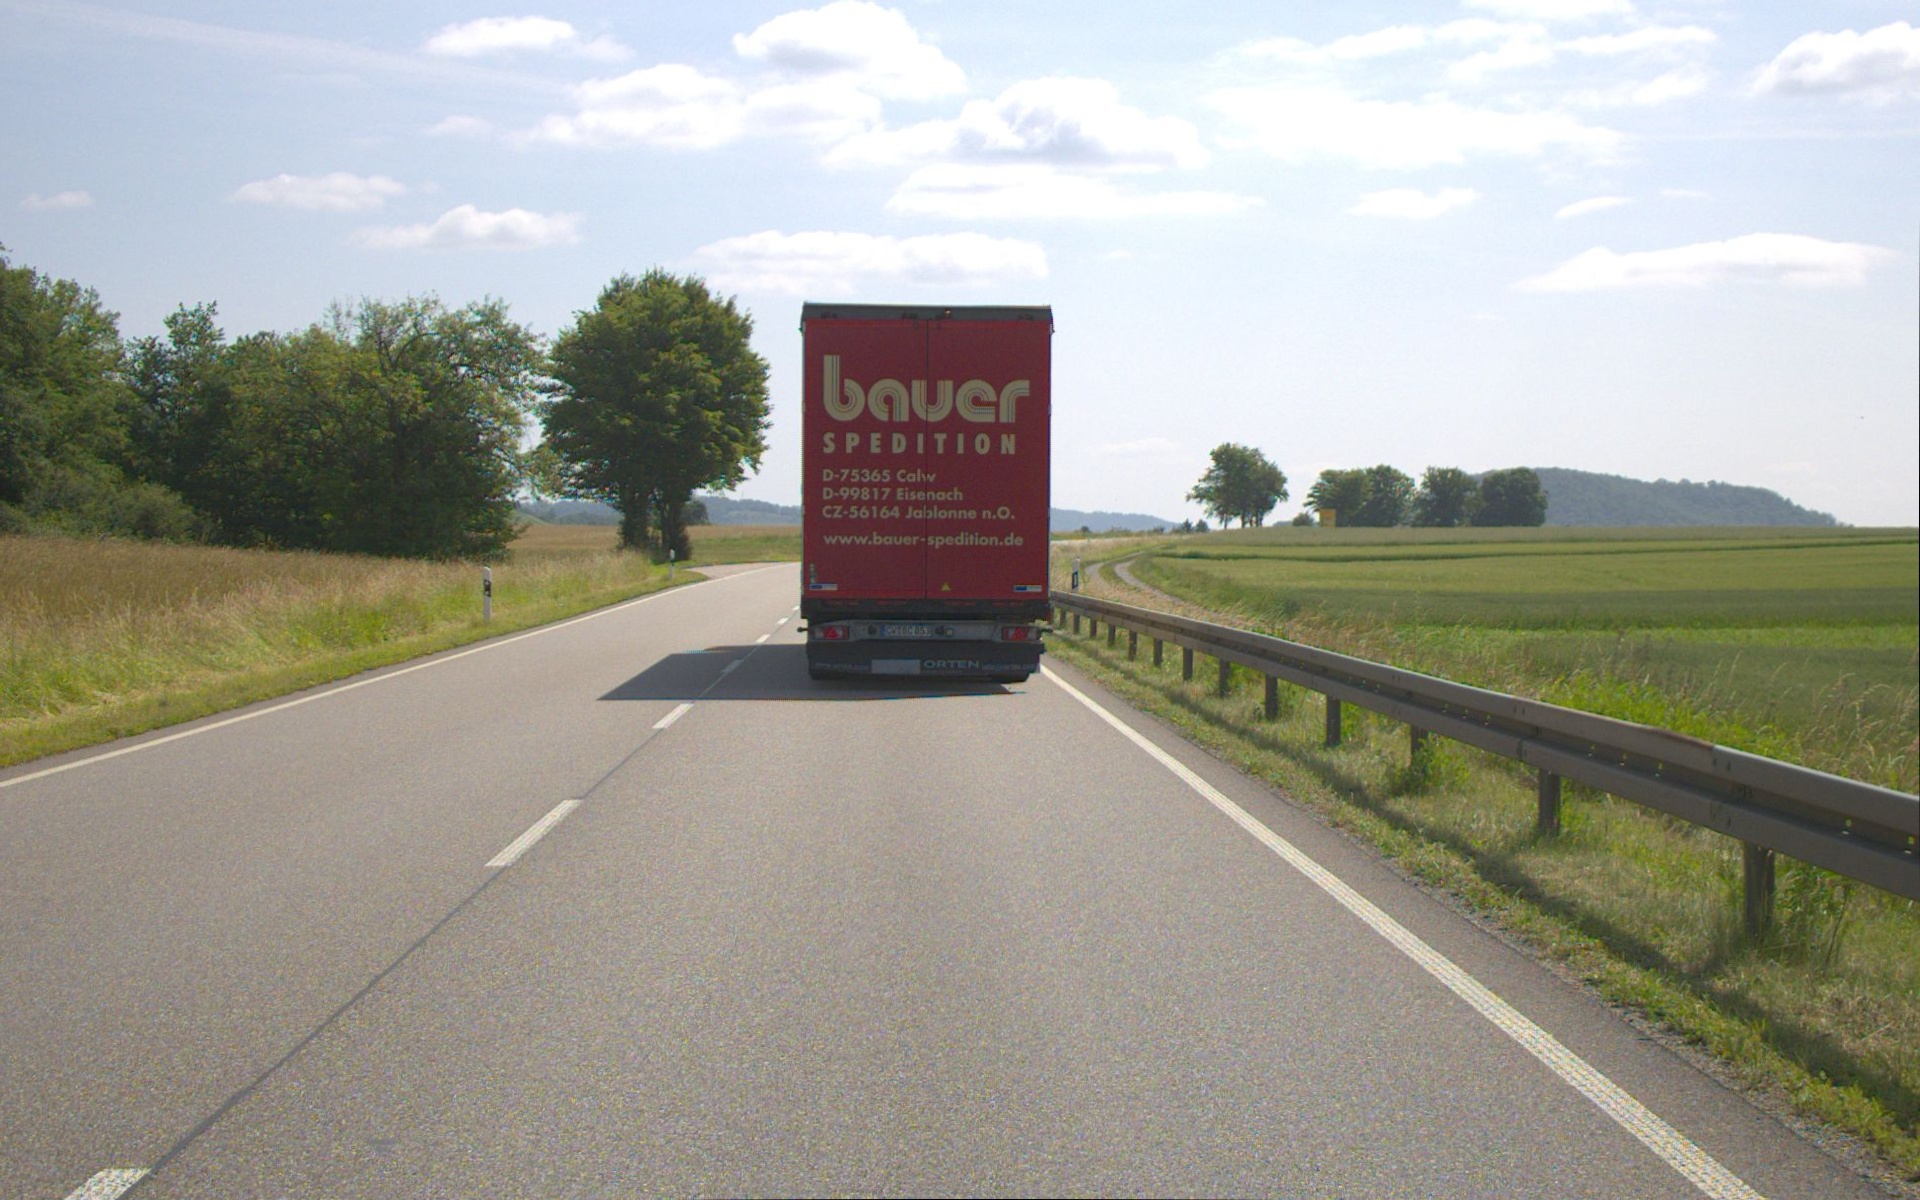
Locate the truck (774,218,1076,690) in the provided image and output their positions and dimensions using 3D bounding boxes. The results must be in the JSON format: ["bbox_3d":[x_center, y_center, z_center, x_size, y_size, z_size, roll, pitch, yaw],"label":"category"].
[{"bbox_3d":[-0.468,-1.499,39.271,2.975,4.697,9.366,1,0,-1],"label":"truck"}]
